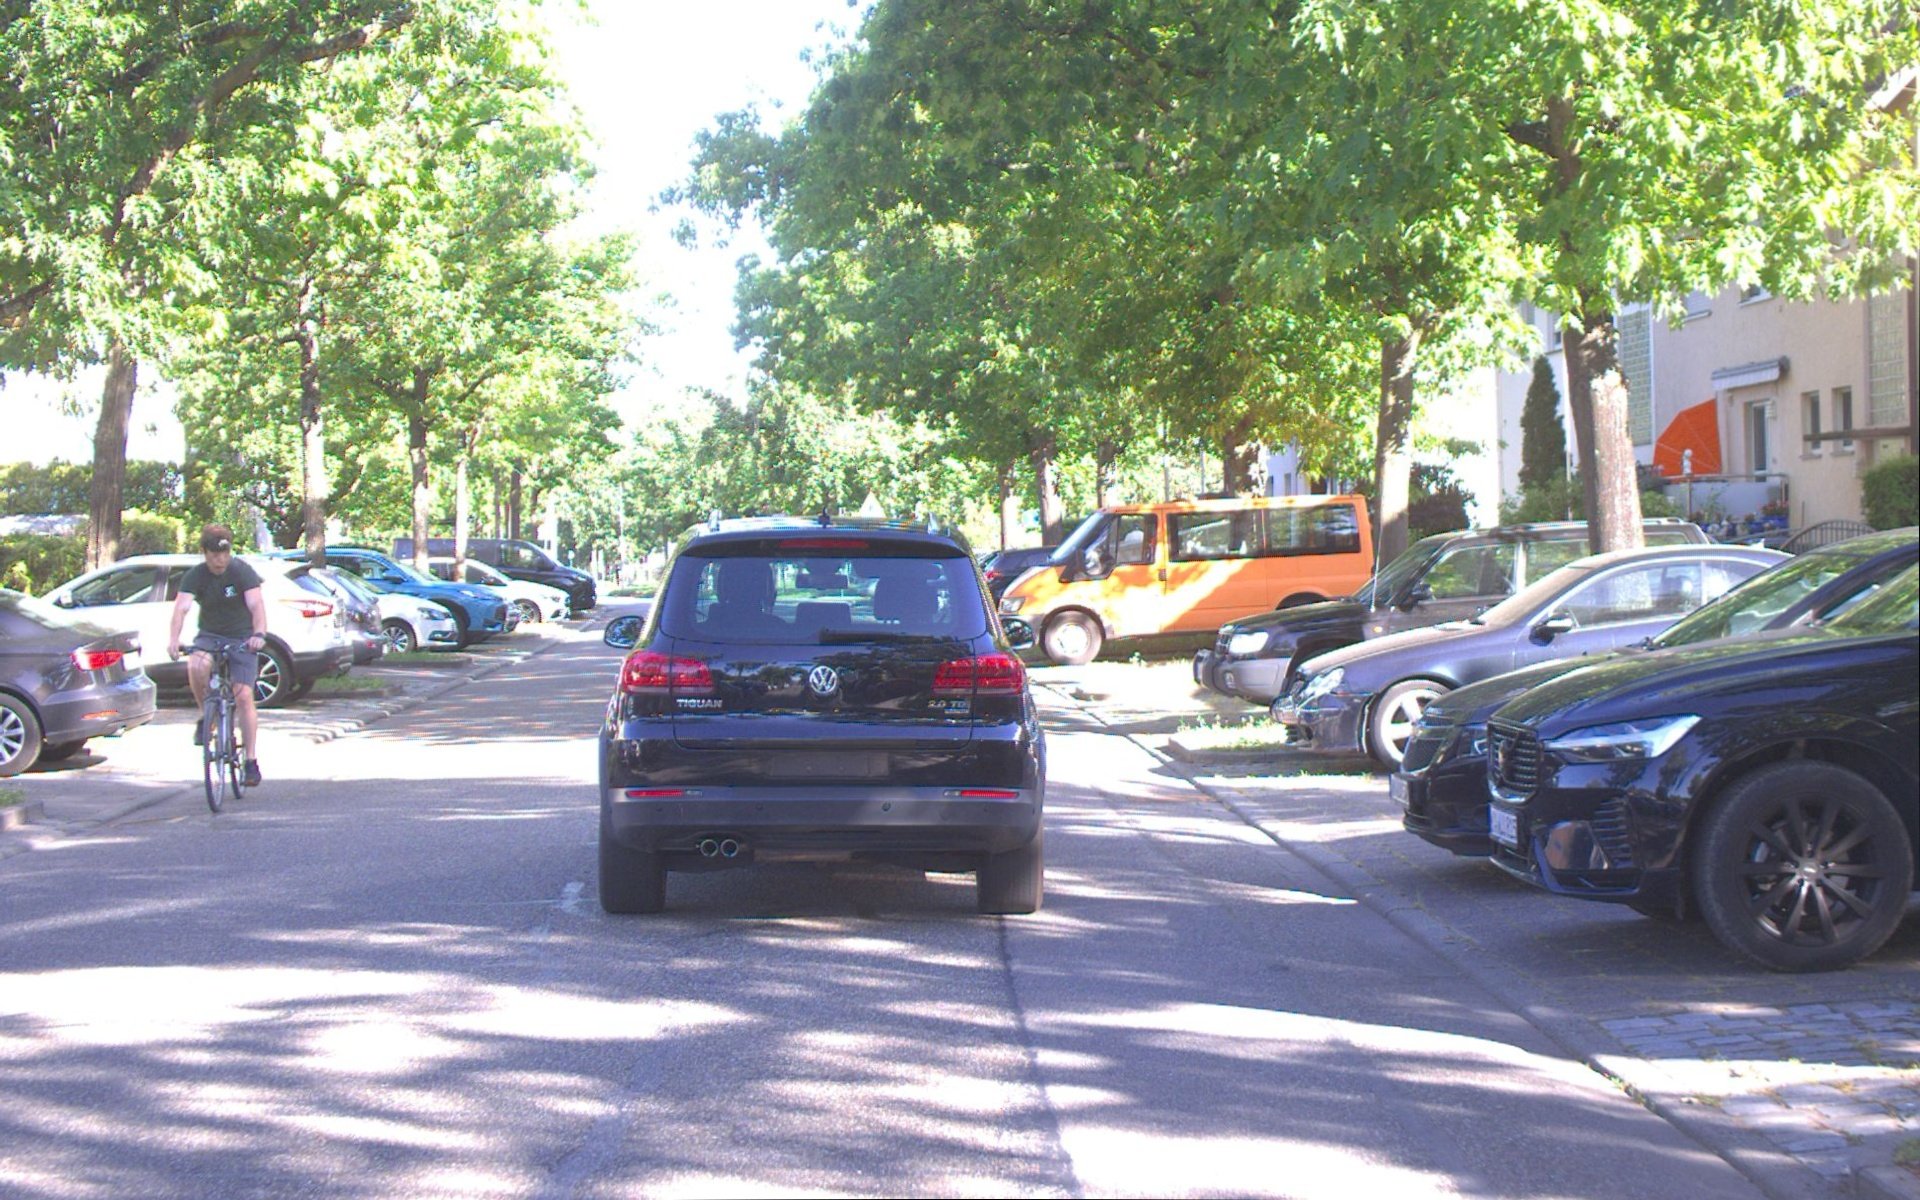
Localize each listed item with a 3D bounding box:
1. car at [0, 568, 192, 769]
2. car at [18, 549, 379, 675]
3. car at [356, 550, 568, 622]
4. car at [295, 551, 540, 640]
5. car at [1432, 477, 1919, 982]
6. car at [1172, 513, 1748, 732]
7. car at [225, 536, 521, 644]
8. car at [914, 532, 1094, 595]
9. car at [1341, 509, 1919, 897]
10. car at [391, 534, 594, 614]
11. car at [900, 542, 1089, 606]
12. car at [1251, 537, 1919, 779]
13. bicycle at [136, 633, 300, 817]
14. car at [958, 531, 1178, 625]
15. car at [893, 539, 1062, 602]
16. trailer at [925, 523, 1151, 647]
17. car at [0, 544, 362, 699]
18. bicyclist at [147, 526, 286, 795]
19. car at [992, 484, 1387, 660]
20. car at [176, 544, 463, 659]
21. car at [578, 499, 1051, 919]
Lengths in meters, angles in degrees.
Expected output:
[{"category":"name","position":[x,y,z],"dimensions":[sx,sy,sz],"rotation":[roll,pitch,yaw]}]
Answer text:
[{"category":"car","position":[-8.101,0.510,26.059],"dimensions":[4.210,1.466,1.691],"rotation":[-1,1,-2]},{"category":"car","position":[-9.207,0.130,41.810],"dimensions":[4.033,1.418,1.810],"rotation":[1,1,-4]},{"category":"car","position":[-10.471,-0.310,72.531],"dimensions":[4.275,1.473,1.769],"rotation":[0,1,-3]},{"category":"car","position":[-9.781,-0.084,62.171],"dimensions":[4.182,1.487,1.647],"rotation":[-1,0,-2]},{"category":"car","position":[4.198,0.345,12.597],"dimensions":[4.573,1.641,1.838],"rotation":[-3,1,-2]},{"category":"car","position":[4.035,0.160,28.220],"dimensions":[4.337,1.555,1.868],"rotation":[-2,1,-3]},{"category":"car","position":[-9.538,-0.177,56.113],"dimensions":[4.523,1.625,1.938],"rotation":[-1,1,-2]},{"category":"car","position":[1.062,-0.901,84.907],"dimensions":[4.276,1.409,1.797],"rotation":[-2,1,-3]},{"category":"car","position":[4.040,0.373,15.522],"dimensions":[4.319,1.524,1.841],"rotation":[-3,1,-2]},{"category":"car","position":[-11.287,-0.651,83.197],"dimensions":[4.778,1.910,2.019],"rotation":[0,1,-5]},{"category":"car","position":[0.810,-0.613,82.058],"dimensions":[4.345,1.358,1.874],"rotation":[-2,0,-4]},{"category":"car","position":[4.248,0.356,22.855],"dimensions":[4.427,1.327,1.691],"rotation":[-3,1,0]},{"category":"bicycle","position":[-4.781,0.785,22.265],"dimensions":[0.596,1.055,1.986],"rotation":[-4,1,-1]},{"category":"car","position":[1.954,-0.412,63.024],"dimensions":[3.882,1.510,1.661],"rotation":[-1,4,-2]},{"category":"car","position":[0.430,-0.773,89.742],"dimensions":[4.276,1.498,1.797],"rotation":[-2,1,-3]},{"category":"trailer","position":[1.085,-0.227,48.733],"dimensions":[2.945,1.658,1.615],"rotation":[-2,1,-8]},{"category":"car","position":[-8.586,0.205,36.435],"dimensions":[4.187,1.561,1.792],"rotation":[1,1,-1]},{"category":"bicyclist","position":[-4.808,0.378,22.267],"dimensions":[0.596,1.668,0.975],"rotation":[-4,1,-1]},{"category":"car","position":[2.894,-0.369,44.108],"dimensions":[4.818,2.076,2.086],"rotation":[-1,1,-2]},{"category":"car","position":[-9.580,0.021,51.648],"dimensions":[3.986,1.590,1.857],"rotation":[-1,0,-2]},{"category":"car","position":[-0.595,0.406,15.397],"dimensions":[1.838,1.631,3.958],"rotation":[0,1,-1]}]
